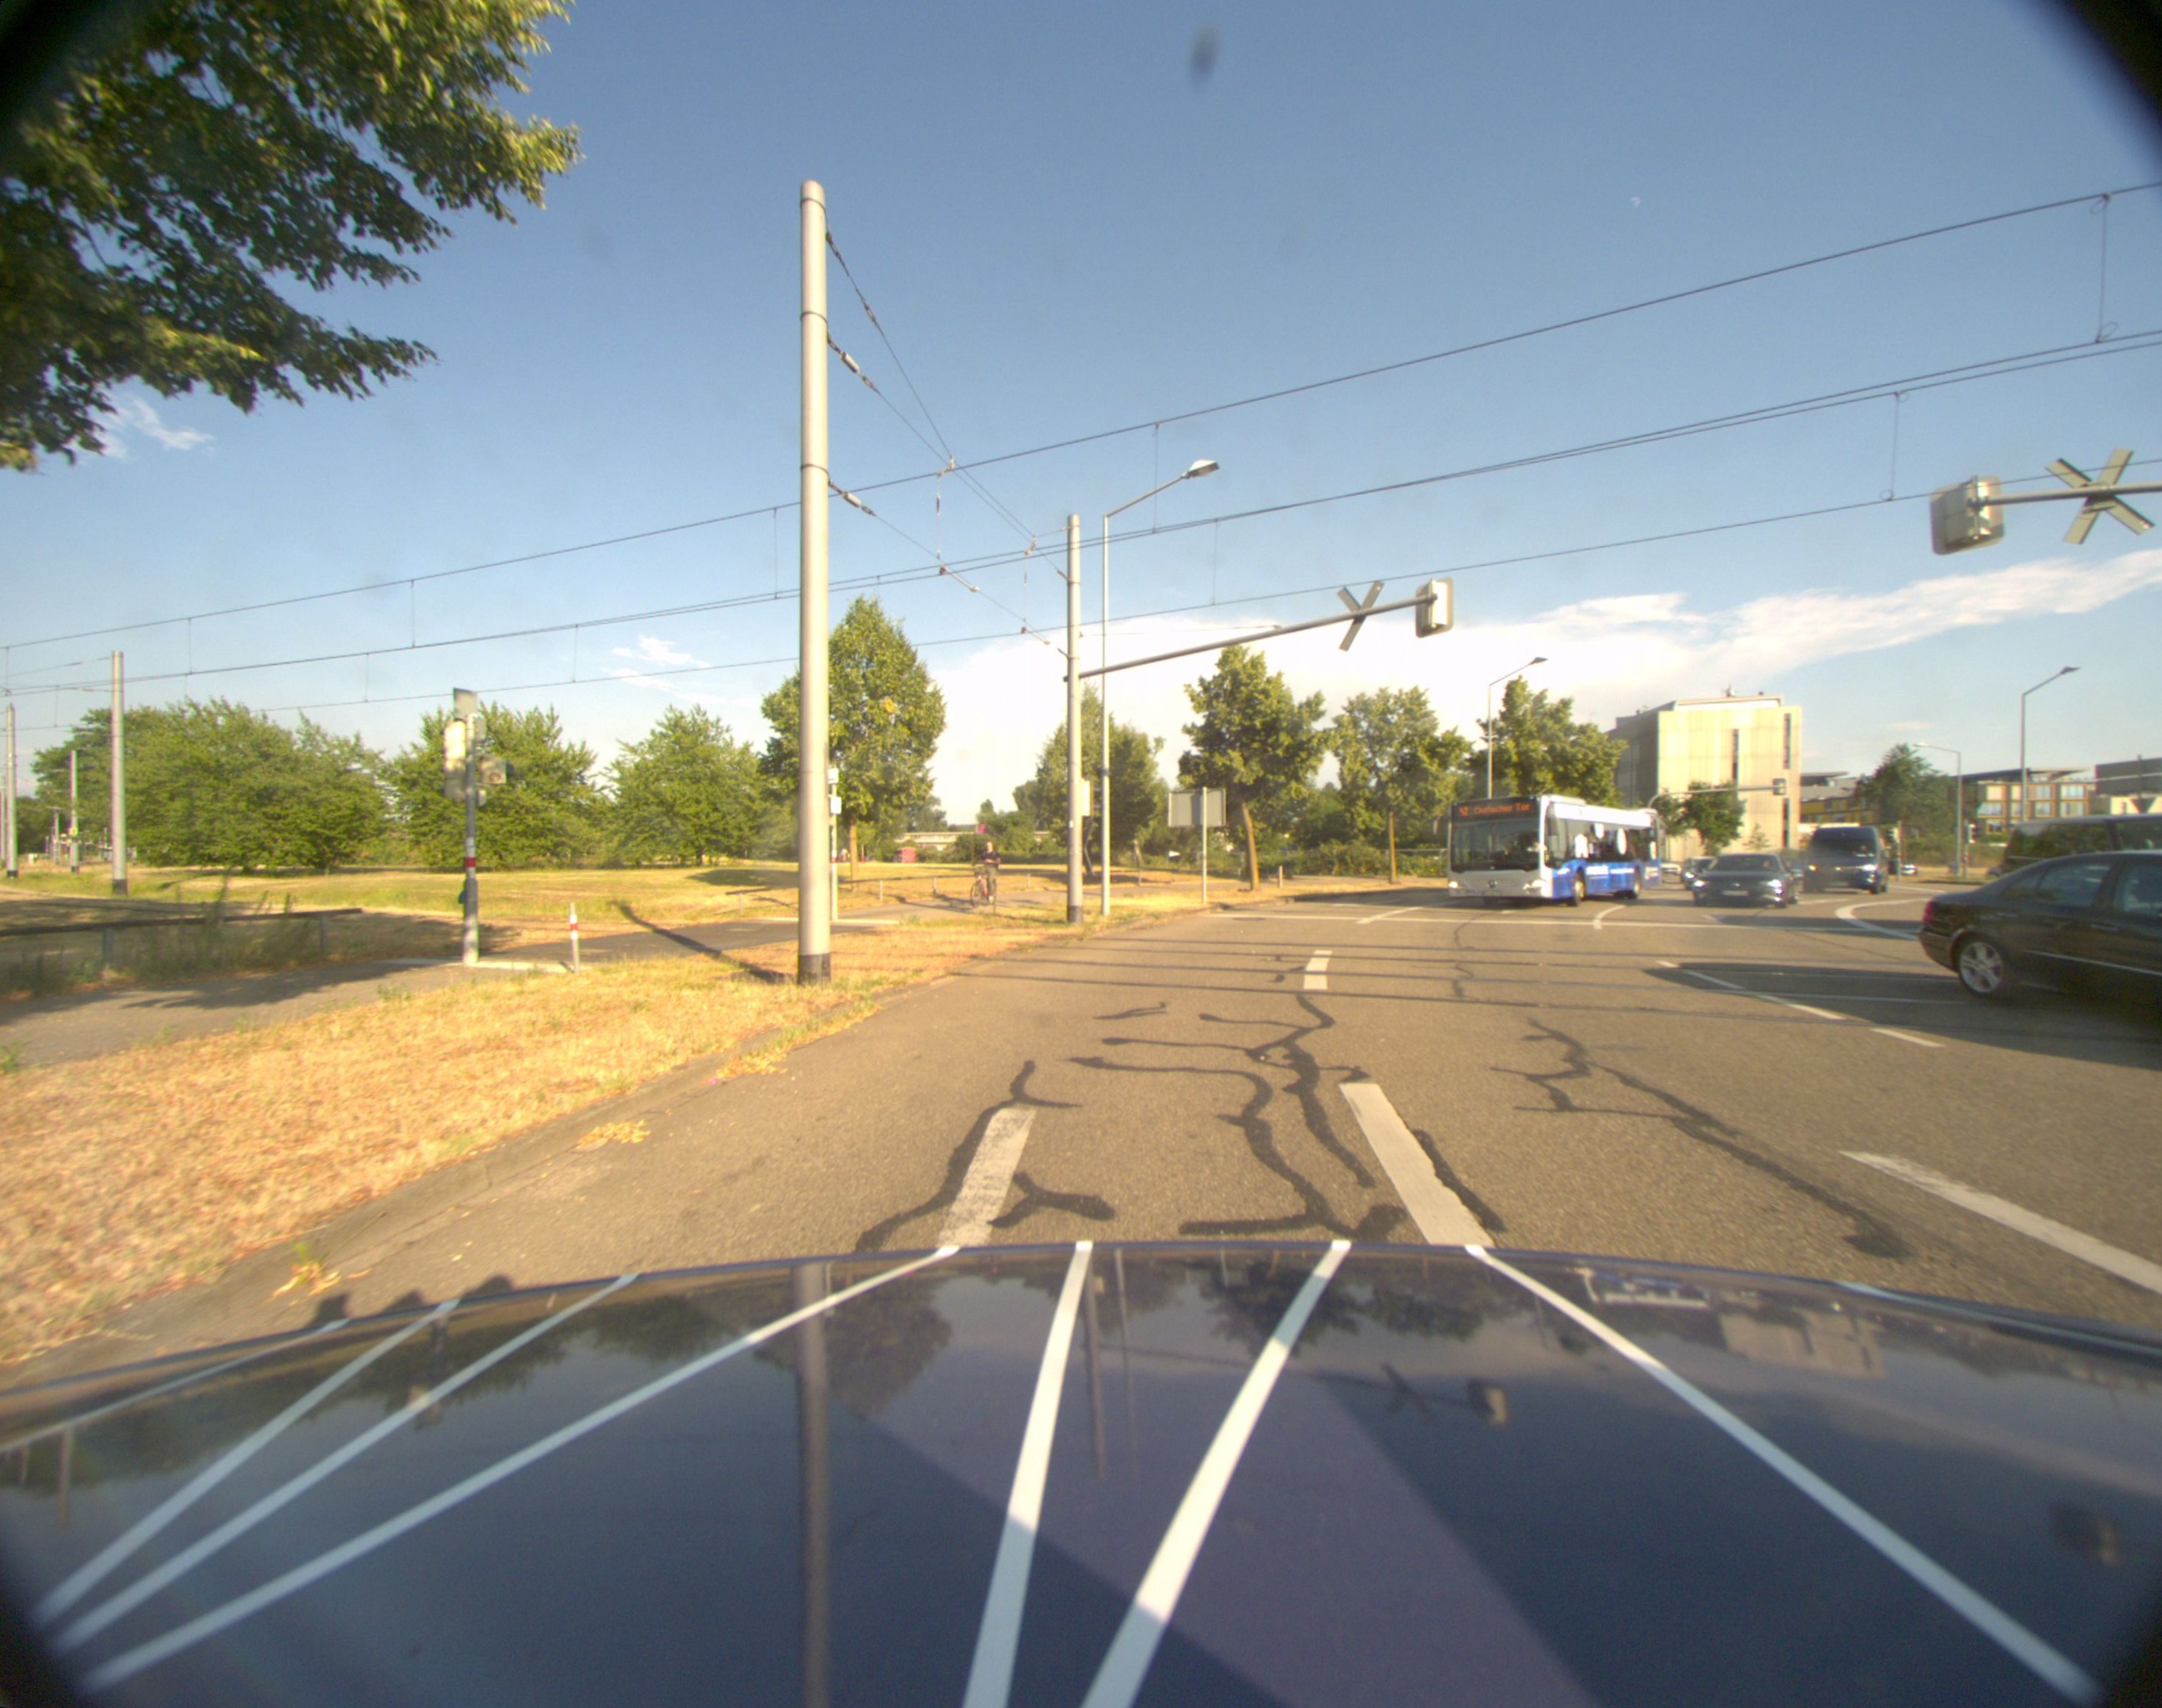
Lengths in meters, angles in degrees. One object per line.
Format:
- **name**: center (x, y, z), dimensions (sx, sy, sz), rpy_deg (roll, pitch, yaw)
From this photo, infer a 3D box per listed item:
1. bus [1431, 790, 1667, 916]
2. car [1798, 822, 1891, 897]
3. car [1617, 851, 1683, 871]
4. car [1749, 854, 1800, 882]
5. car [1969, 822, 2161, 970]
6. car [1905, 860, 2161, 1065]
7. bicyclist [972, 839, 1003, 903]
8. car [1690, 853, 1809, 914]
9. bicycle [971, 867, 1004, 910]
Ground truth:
- **bus**: center (14.864, -0.096, 23.394), dimensions (12.203, 3.044, 2.659), rpy_deg (-1, 1, -41)
- **car**: center (29.078, 0.219, 28.868), dimensions (5.497, 2.578, 1.995), rpy_deg (0, -1, -40)
- **car**: center (46.170, 0.560, 61.761), dimensions (1.757, 1.565, 3.993), rpy_deg (-1, 1, -18)
- **car**: center (40.075, 0.760, 44.007), dimensions (1.677, 1.509, 4.008), rpy_deg (1, 1, 35)
- **car**: center (16.722, 0.547, 12.193), dimensions (2.088, 2.035, 5.255), rpy_deg (0, 1, 37)
- **car**: center (8.938, 0.824, 5.607), dimensions (1.839, 1.398, 4.707), rpy_deg (-2, 0, 19)
- **bicyclist**: center (-2.653, 0.465, 21.653), dimensions (0.728, 1.790, 0.938), rpy_deg (0, 1, 1)
- **car**: center (18.122, 0.722, 20.525), dimensions (4.396, 1.428, 1.806), rpy_deg (-1, 1, -41)
- **bicycle**: center (-2.654, 0.949, 21.668), dimensions (0.640, 1.116, 2.125), rpy_deg (0, 1, 1)
